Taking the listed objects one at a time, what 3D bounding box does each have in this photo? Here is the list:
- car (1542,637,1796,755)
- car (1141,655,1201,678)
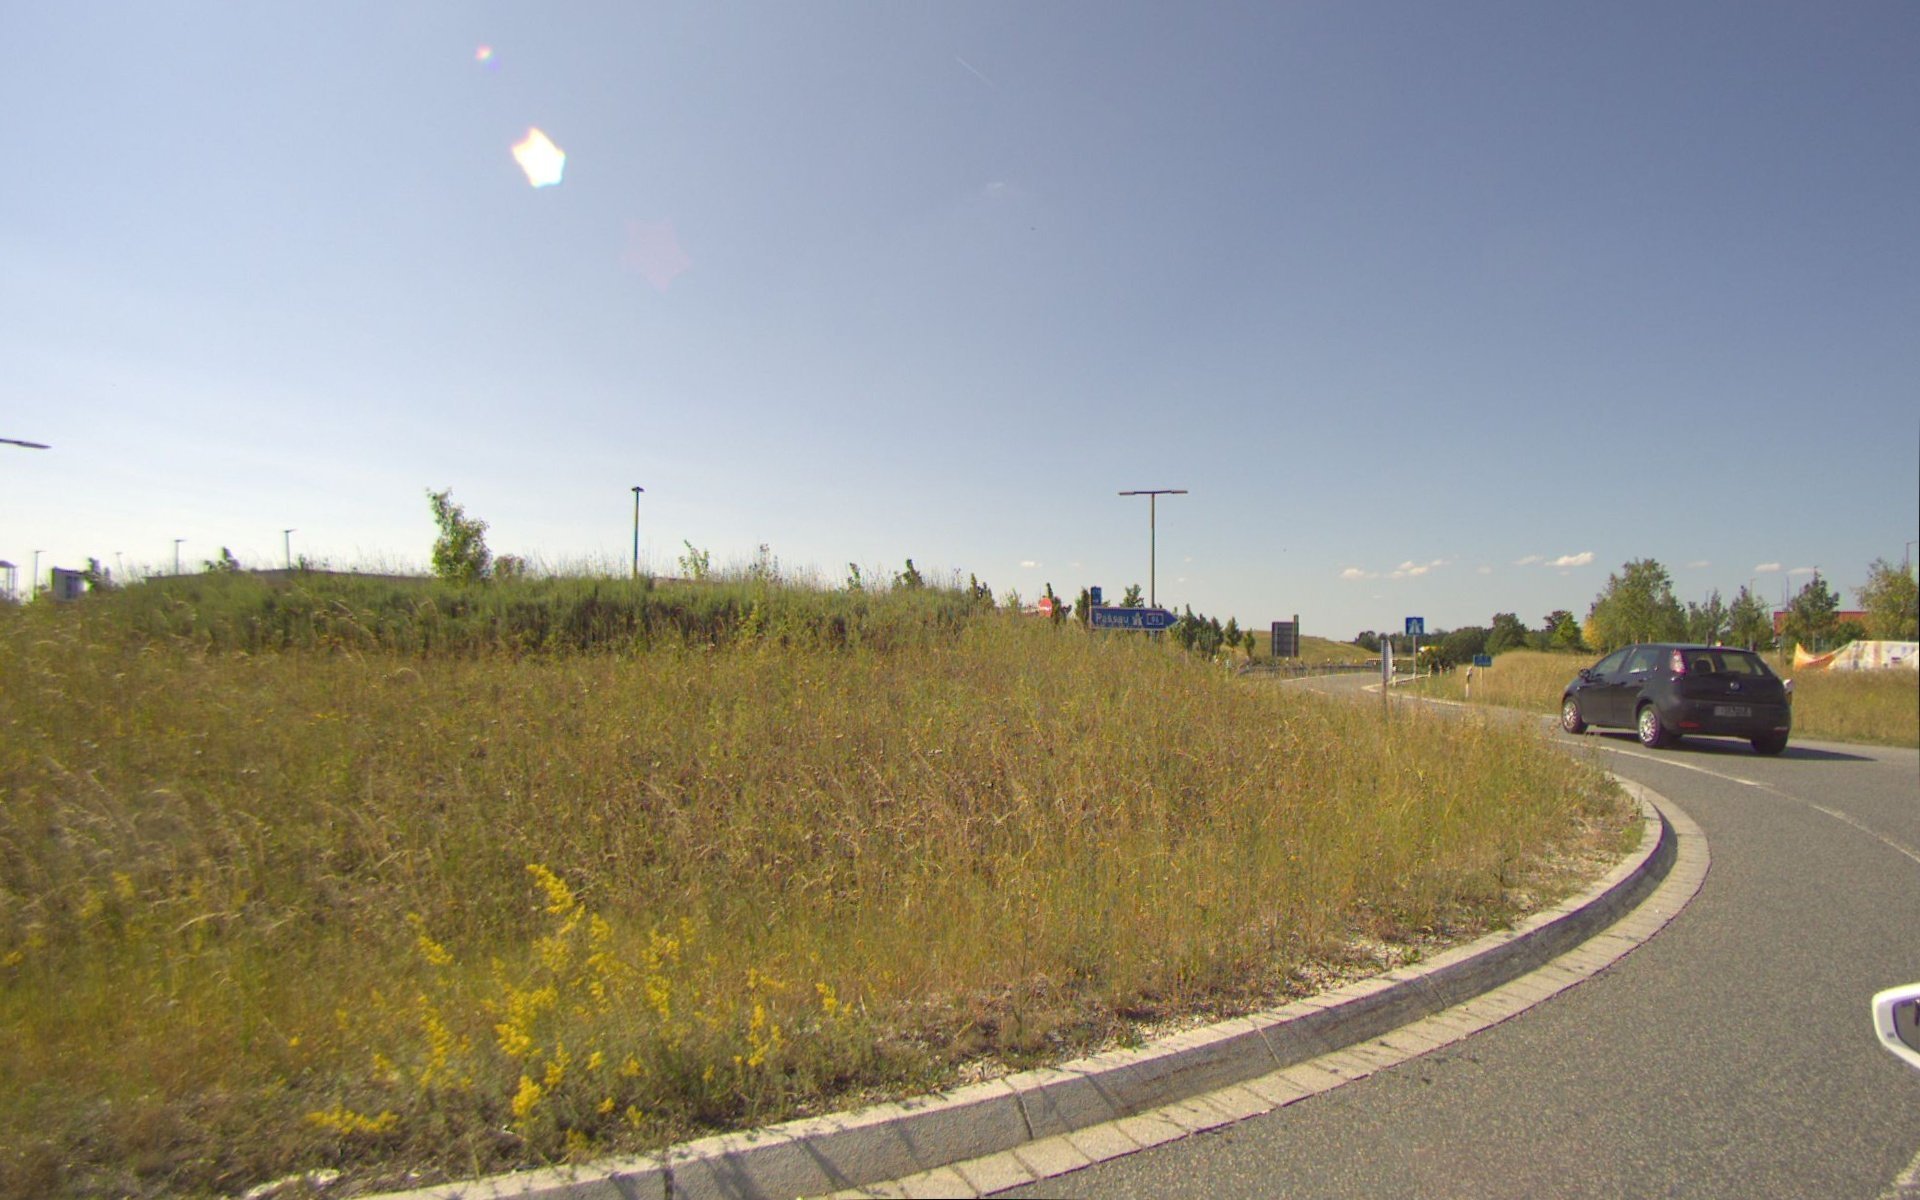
[{"bbox_3d":[10.607,1.349,15.393,1.611,1.507,3.907,1,-1,9],"label":"car"},{"bbox_3d":[13.486,4.216,64.055,4.338,1.432,1.671,3,-3,-45],"label":"car"}]
